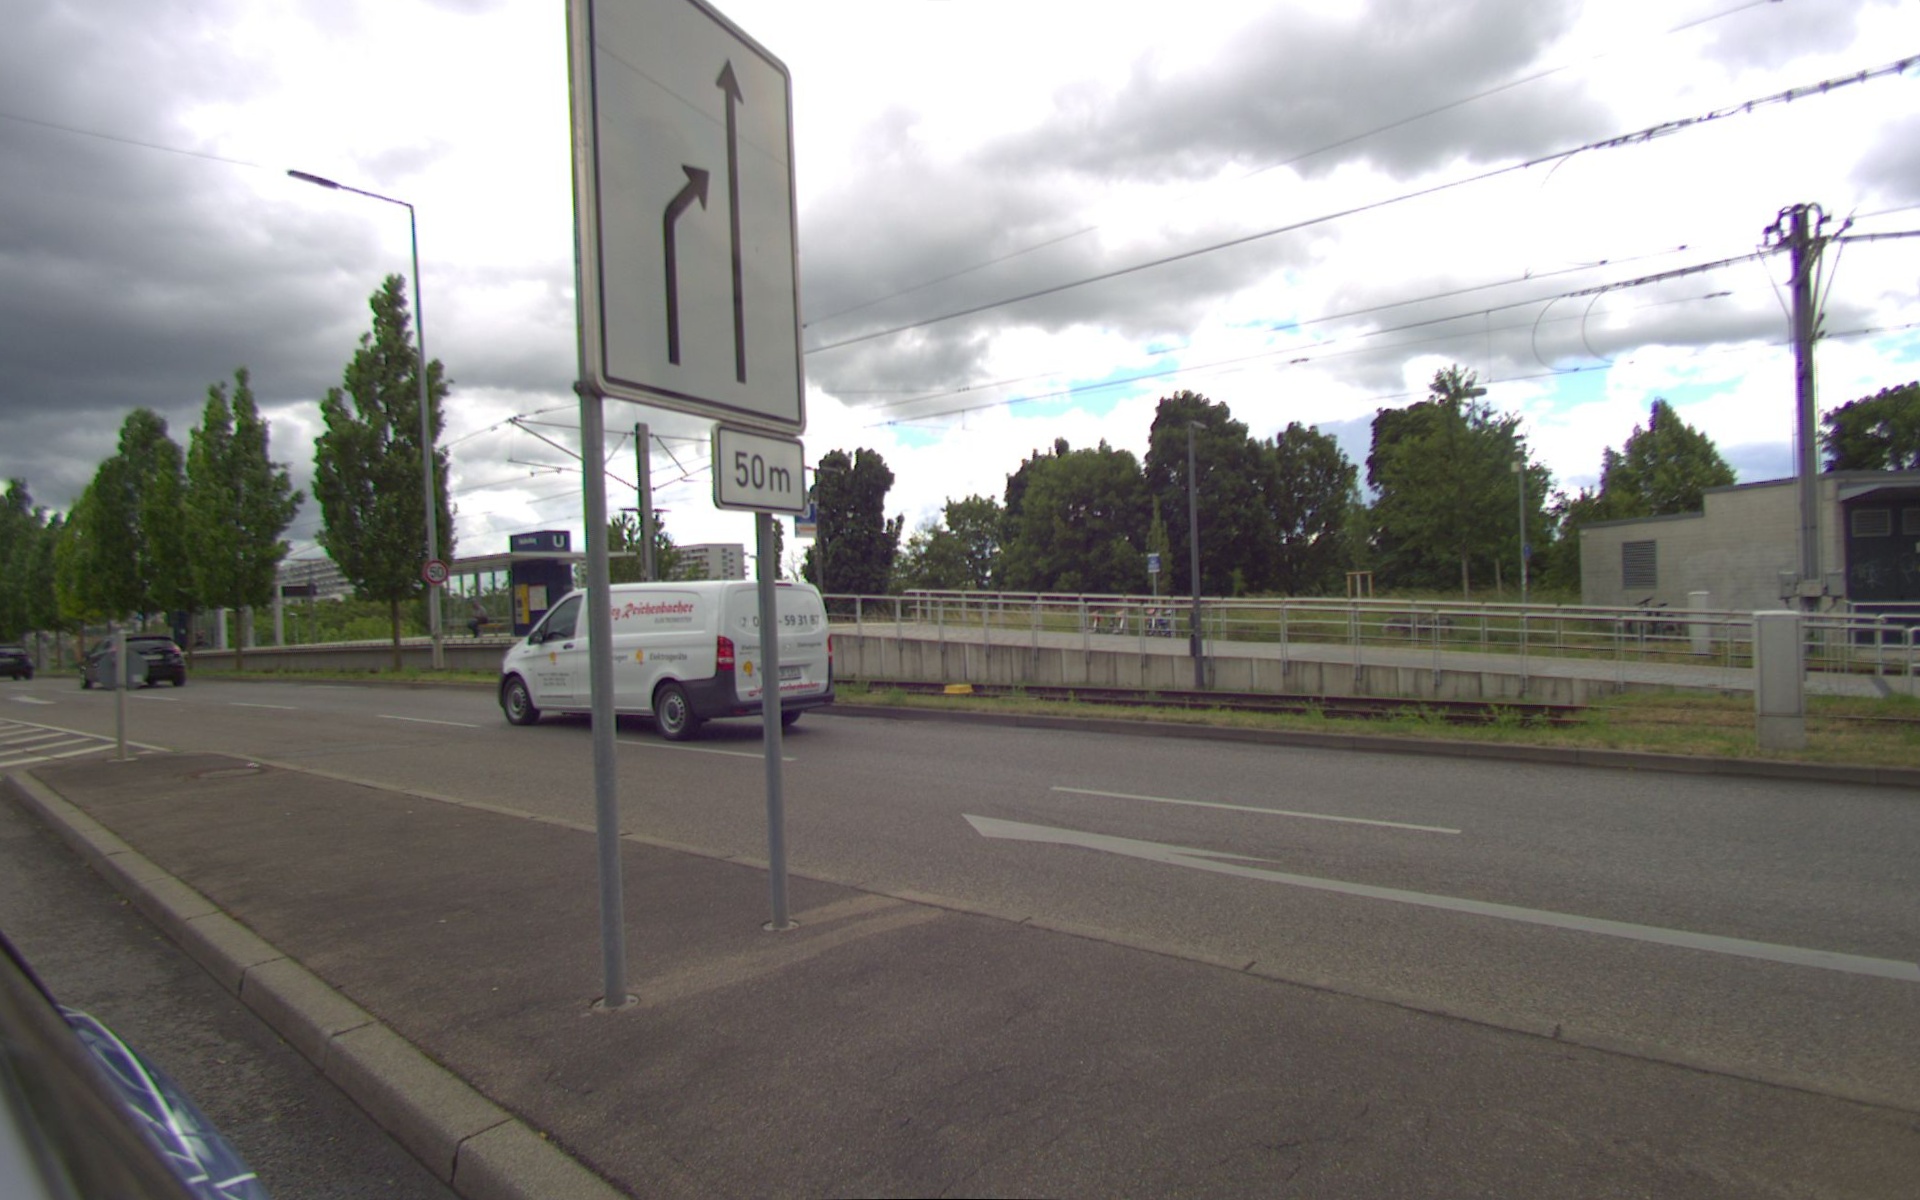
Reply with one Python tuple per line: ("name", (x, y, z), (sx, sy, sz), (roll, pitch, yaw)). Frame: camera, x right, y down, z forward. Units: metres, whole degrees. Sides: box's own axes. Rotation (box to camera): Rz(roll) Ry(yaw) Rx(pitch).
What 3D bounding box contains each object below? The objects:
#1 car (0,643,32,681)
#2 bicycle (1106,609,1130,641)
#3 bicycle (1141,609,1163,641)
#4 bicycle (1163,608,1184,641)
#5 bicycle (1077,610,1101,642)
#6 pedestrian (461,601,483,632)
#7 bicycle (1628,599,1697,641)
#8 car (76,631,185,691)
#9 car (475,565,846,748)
("car", (-38.713, 2.491, 40.526), (3.929, 1.460, 1.679), (-3, -1, 38))
("bicycle", (5.391, 0.853, 34.446), (0.531, 1.039, 1.804), (-1, 0, 16))
("bicycle", (6.447, 0.822, 33.992), (0.531, 1.039, 1.804), (-1, 0, 16))
("bicycle", (7.124, 0.805, 33.676), (0.531, 1.039, 1.804), (-1, 0, 16))
("bicycle", (4.443, 0.877, 34.832), (0.531, 1.039, 1.804), (-1, 0, 16))
("pedestrian", (-18.248, 0.606, 37.857), (0.447, 1.163, 0.593), (-1, 0, 41))
("bicycle", (18.086, 0.508, 26.108), (0.529, 1.039, 1.813), (-1, 0, 1))
("car", (-22.448, 1.587, 27.354), (3.658, 1.460, 1.678), (-2, -1, 41))
("car", (-4.114, 0.626, 13.363), (5.364, 1.979, 1.897), (-1, 0, 37))
